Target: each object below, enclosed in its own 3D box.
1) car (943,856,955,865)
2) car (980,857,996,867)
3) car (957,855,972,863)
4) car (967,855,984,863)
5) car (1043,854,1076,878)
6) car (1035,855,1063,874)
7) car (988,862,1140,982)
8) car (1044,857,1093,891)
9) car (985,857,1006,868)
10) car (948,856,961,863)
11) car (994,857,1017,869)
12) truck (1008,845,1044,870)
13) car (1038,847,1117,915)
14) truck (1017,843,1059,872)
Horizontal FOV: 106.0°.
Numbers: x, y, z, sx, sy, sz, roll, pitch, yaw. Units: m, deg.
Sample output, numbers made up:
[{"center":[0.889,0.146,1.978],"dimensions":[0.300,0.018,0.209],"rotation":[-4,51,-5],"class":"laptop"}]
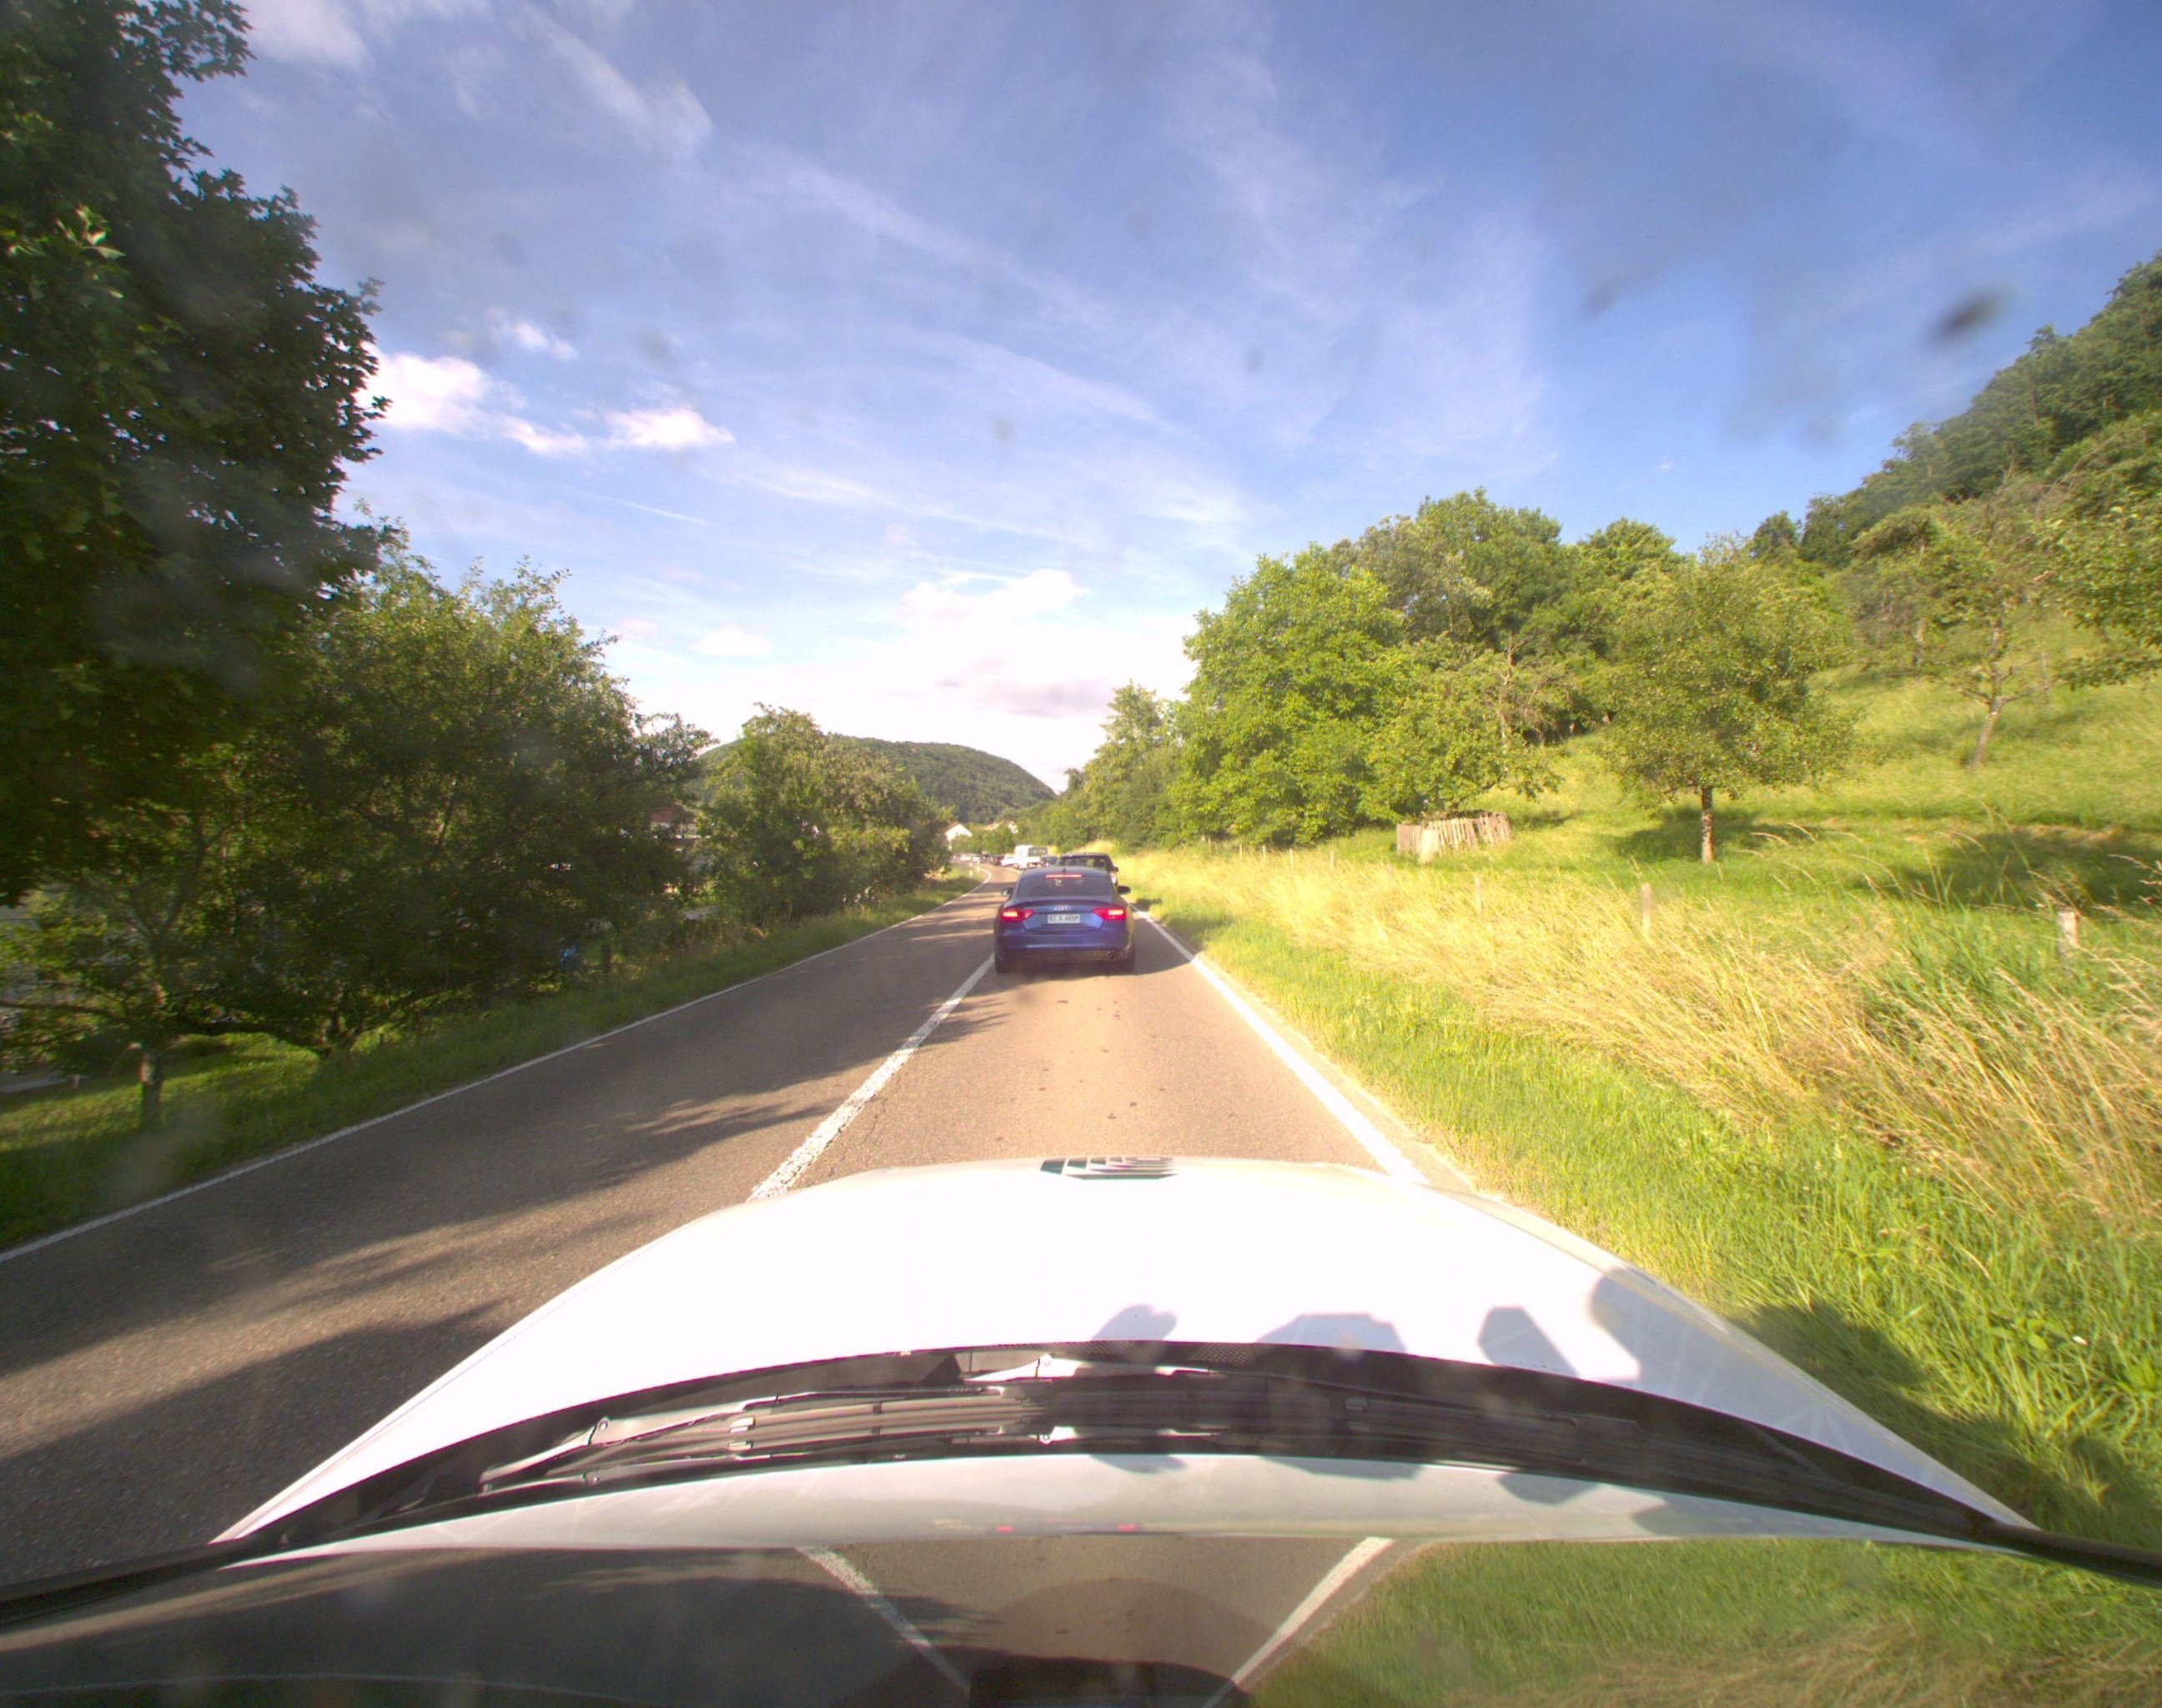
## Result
[{"center":[-28.786,1.426,177.643],"dimensions":[2.001,2.014,3.972],"rotation":[0,-1,-21],"class":"car"},{"center":[-15.303,1.315,133.897],"dimensions":[1.997,1.482,3.978],"rotation":[0,-1,-16],"class":"car"},{"center":[-22.494,1.056,157.249],"dimensions":[2.001,1.482,3.971],"rotation":[0,-1,-22],"class":"car"},{"center":[-18.786,0.912,144.662],"dimensions":[2.001,1.482,3.971],"rotation":[0,-1,-22],"class":"car"},{"center":[-1.461,0.793,53.349],"dimensions":[1.990,1.482,3.994],"rotation":[0,-1,-4],"class":"car"},{"center":[-2.574,0.829,65.097],"dimensions":[1.991,1.482,3.991],"rotation":[0,-1,-7],"class":"car"},{"center":[-0.146,0.833,11.669],"dimensions":[1.787,1.360,4.001],"rotation":[-1,0,1],"class":"car"},{"center":[-0.499,0.851,35.566],"dimensions":[1.987,1.387,4.000],"rotation":[-1,-1,1],"class":"car"},{"center":[-11.806,1.203,112.689],"dimensions":[2.000,1.482,3.973],"rotation":[0,-1,-20],"class":"car"},{"center":[-26.299,1.191,169.299],"dimensions":[2.001,1.482,3.971],"rotation":[0,-1,-22],"class":"car"},{"center":[-9.763,1.123,105.366],"dimensions":[2.000,1.482,3.973],"rotation":[0,-1,-20],"class":"car"},{"center":[-6.300,0.383,91.764],"dimensions":[2.864,2.665,10.607],"rotation":[0,0,-10],"class":"truck"},{"center":[-0.070,0.704,22.764],"dimensions":[1.987,1.702,4.000],"rotation":[-1,-1,1],"class":"car"},{"center":[-4.353,0.310,79.996],"dimensions":[2.864,2.665,10.356],"rotation":[0,0,-10],"class":"truck"}]
